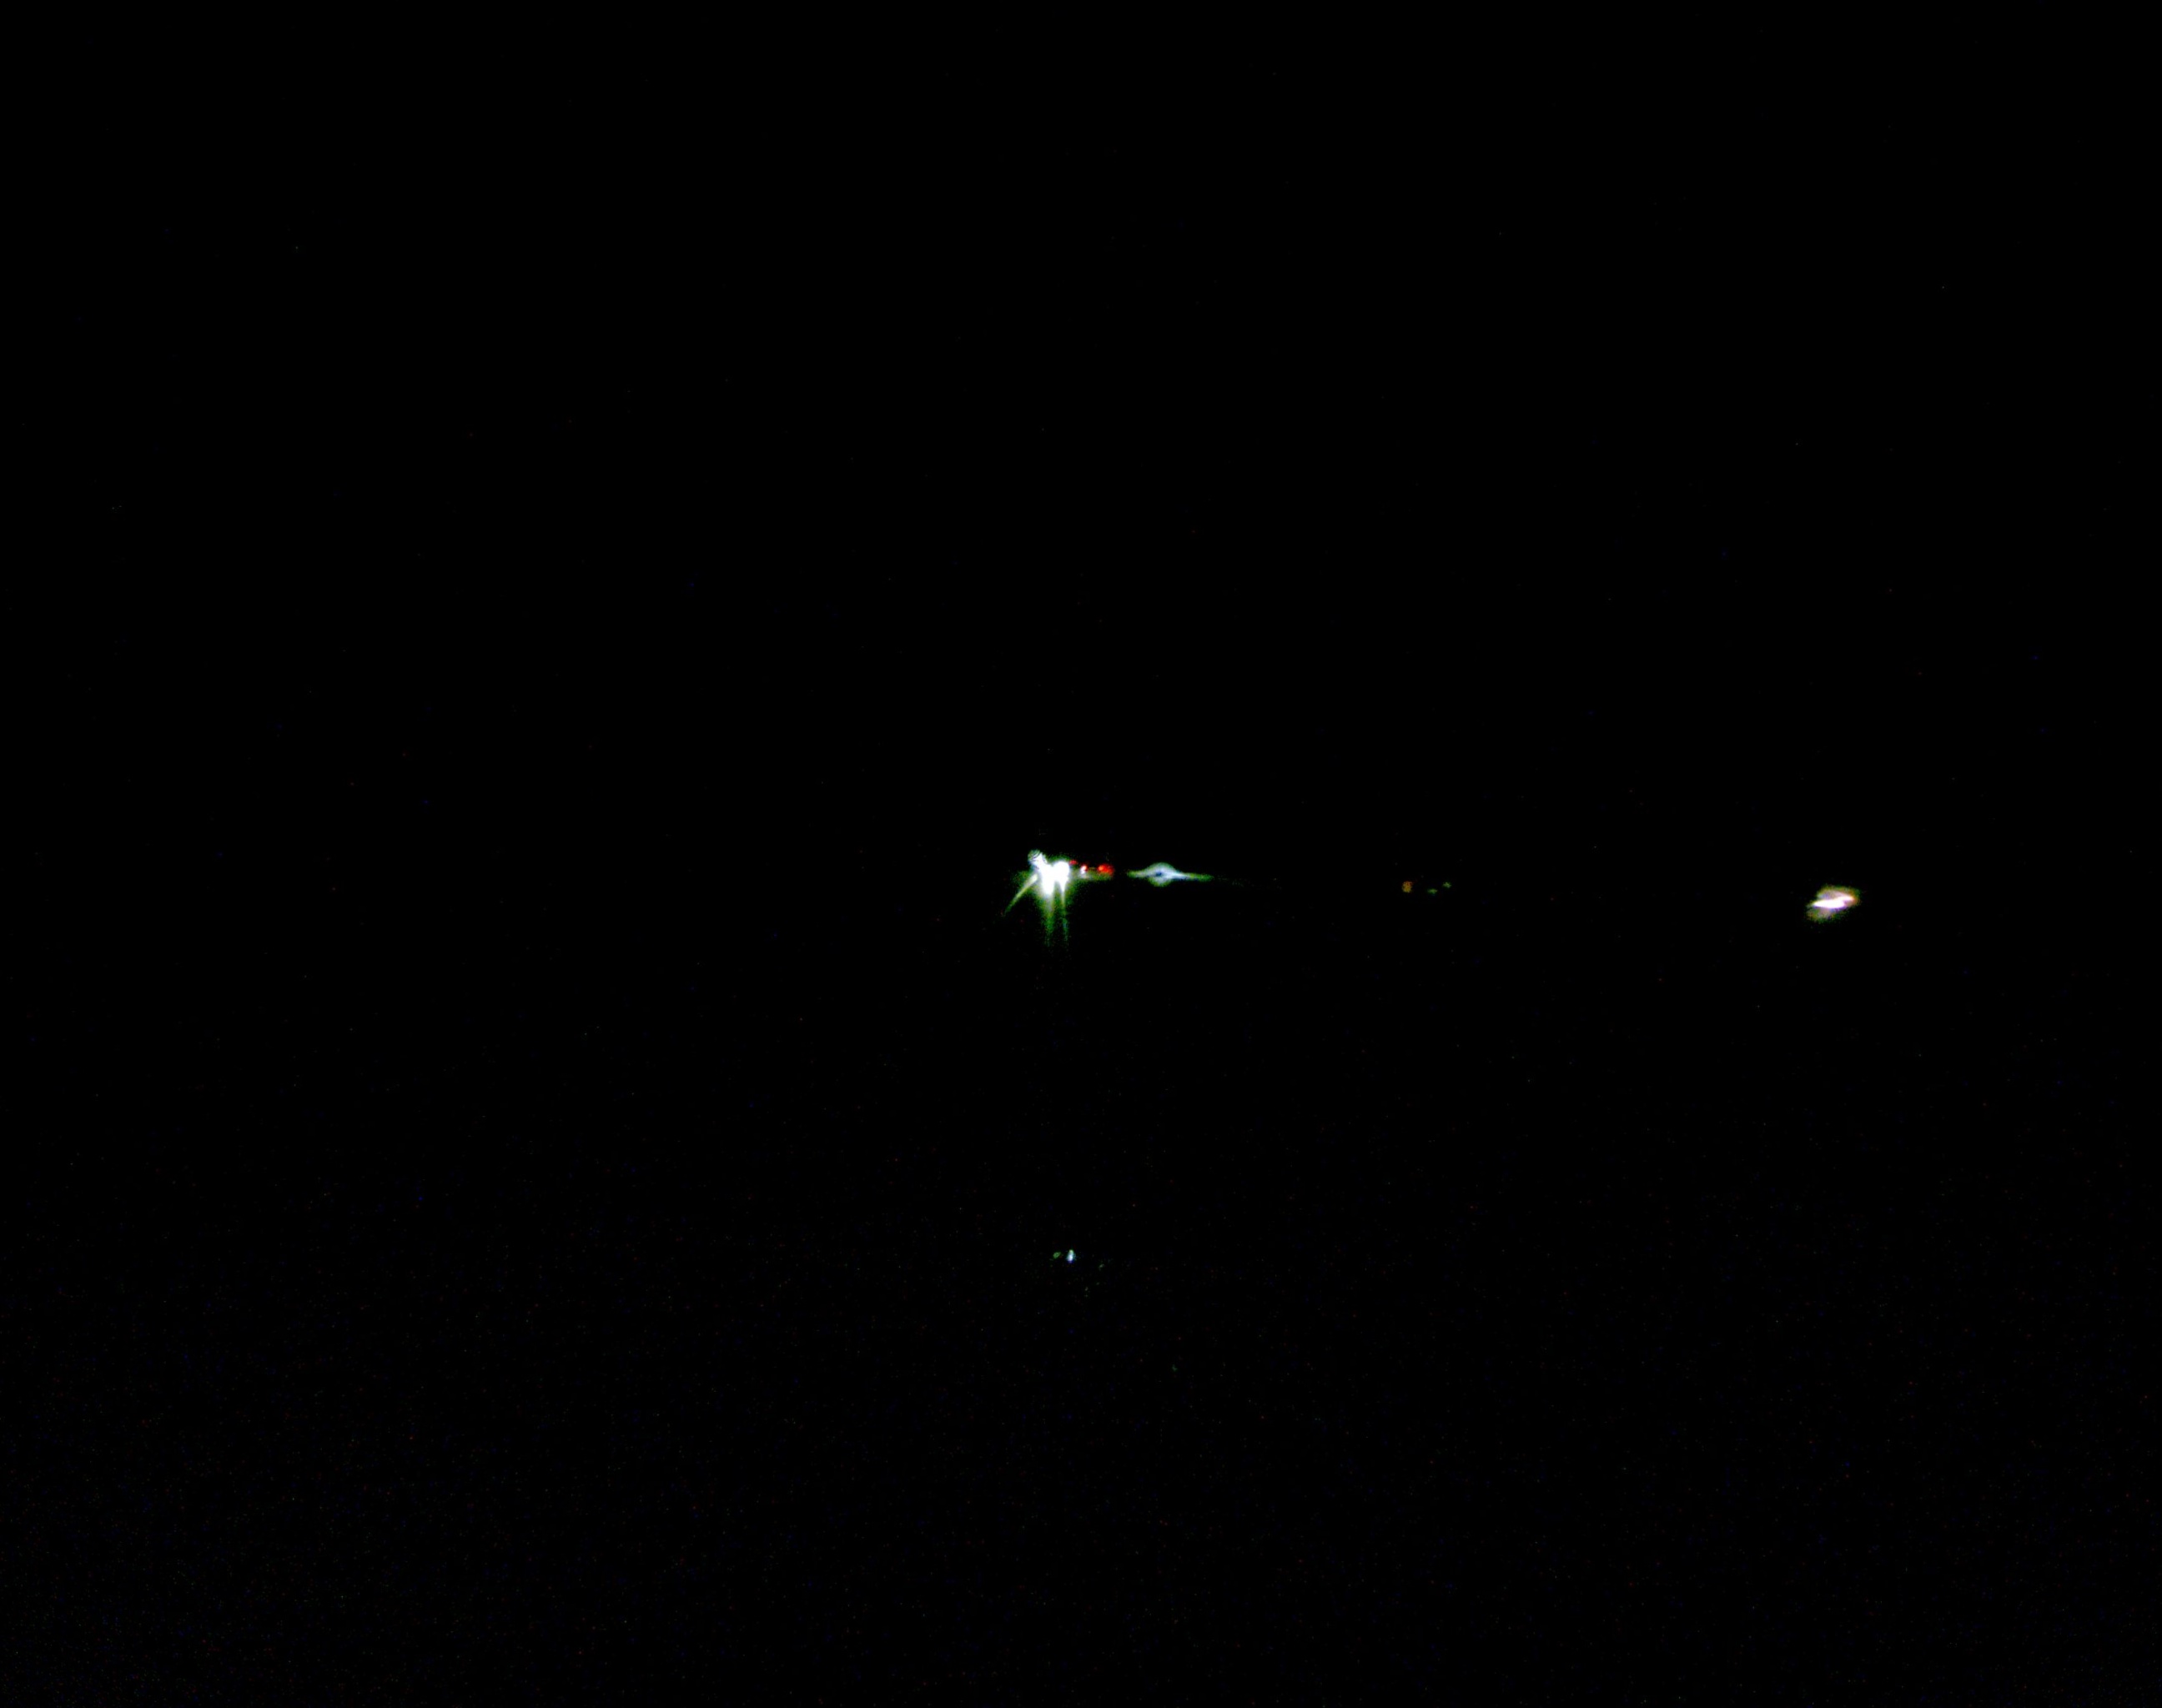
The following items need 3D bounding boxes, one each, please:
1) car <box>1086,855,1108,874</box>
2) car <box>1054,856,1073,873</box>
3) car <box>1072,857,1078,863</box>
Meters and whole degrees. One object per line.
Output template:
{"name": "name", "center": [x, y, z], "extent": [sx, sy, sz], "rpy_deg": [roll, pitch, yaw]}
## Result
{"name": "car", "center": [1.595, 1.035, 78.010], "extent": [1.999, 1.814, 4.562], "rpy_deg": [-1, 0, -2]}
{"name": "car", "center": [-1.939, 1.121, 83.915], "extent": [1.999, 1.724, 3.999], "rpy_deg": [3, 0, -1]}
{"name": "car", "center": [-2.099, 1.945, 255.266], "extent": [2.103, 1.630, 4.453], "rpy_deg": [0, 2, -2]}
